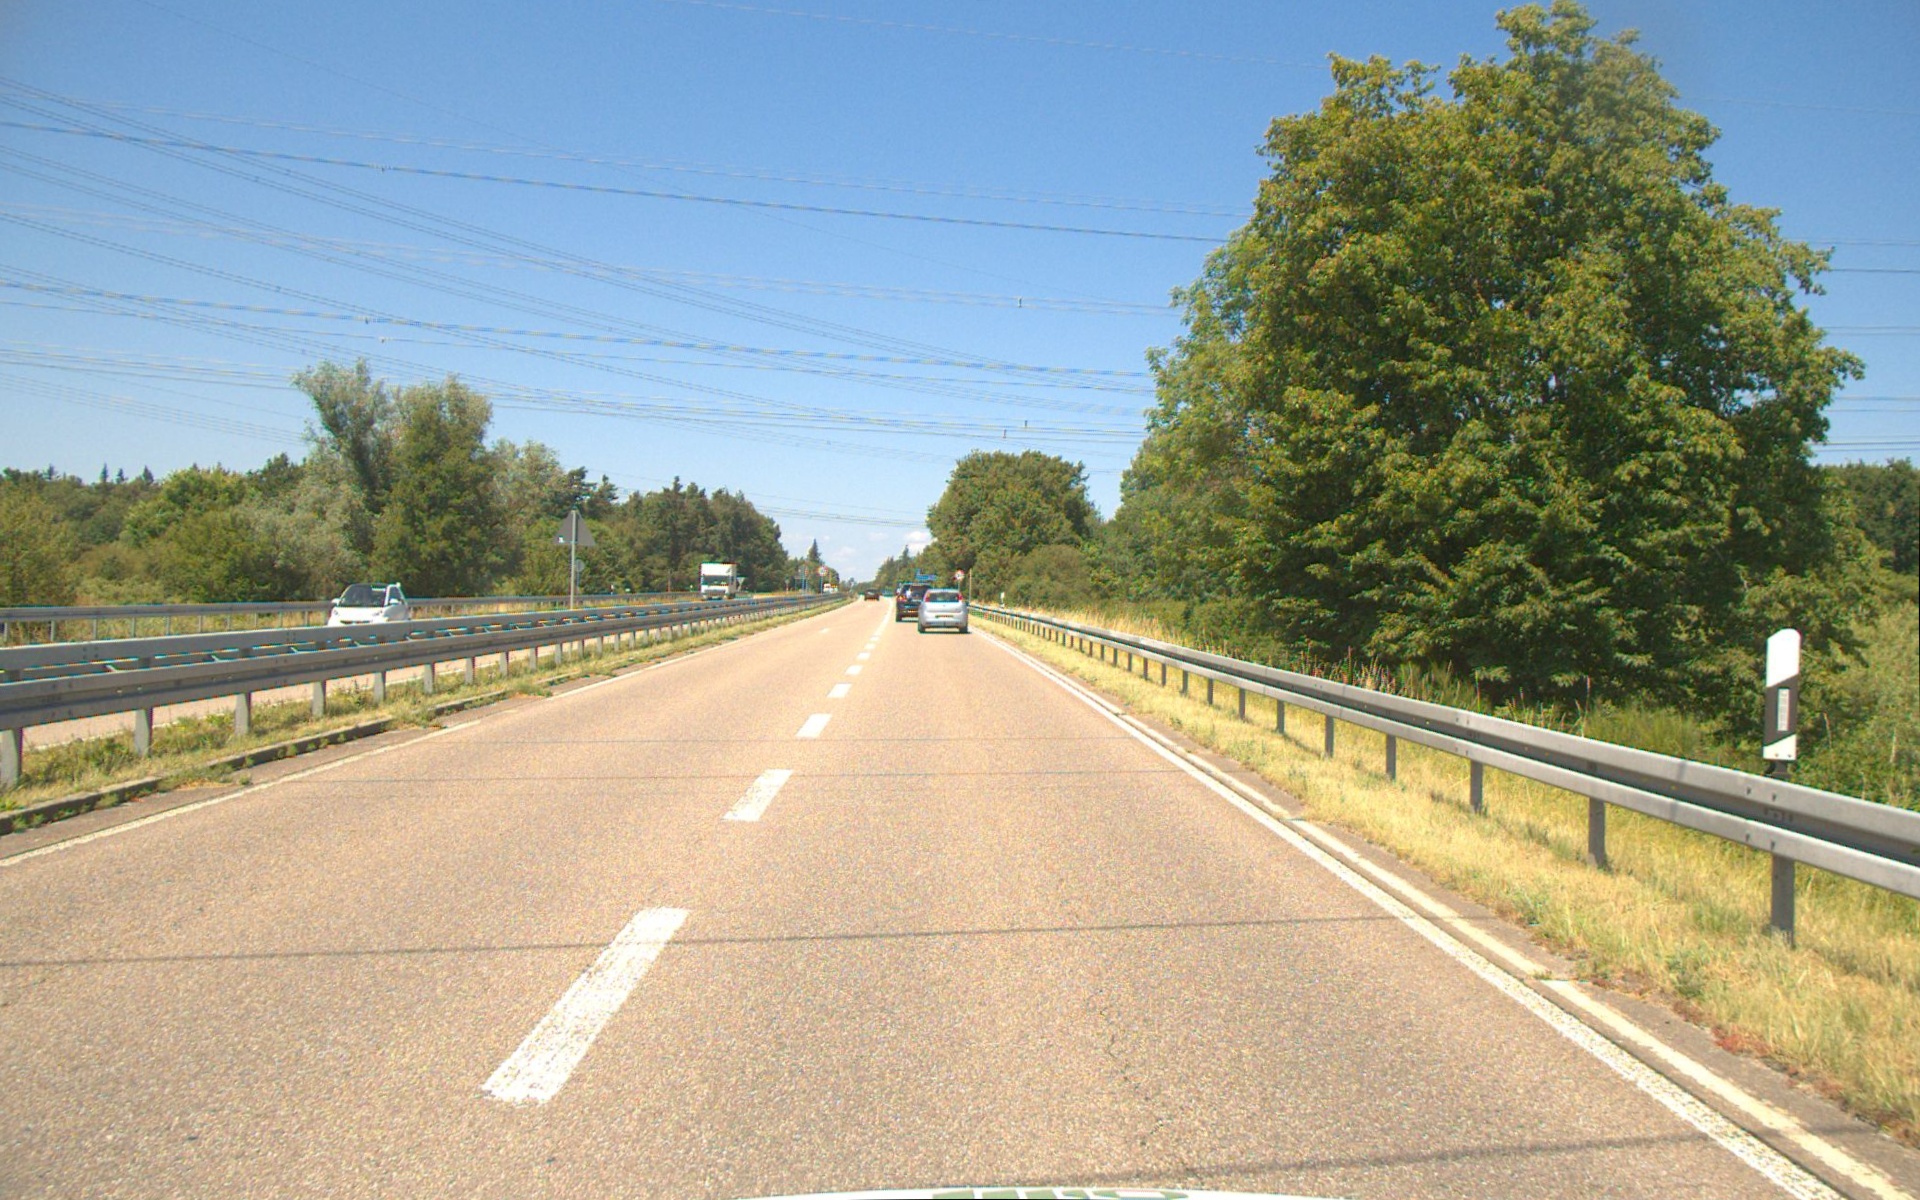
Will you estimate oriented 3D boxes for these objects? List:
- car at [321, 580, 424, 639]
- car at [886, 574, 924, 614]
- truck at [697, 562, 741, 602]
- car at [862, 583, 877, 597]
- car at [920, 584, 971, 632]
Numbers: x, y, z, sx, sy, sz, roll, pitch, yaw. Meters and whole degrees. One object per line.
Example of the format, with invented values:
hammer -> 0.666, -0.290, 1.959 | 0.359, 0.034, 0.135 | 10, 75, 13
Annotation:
car -> -15.628, 0.229, 44.183 | 1.502, 1.475, 3.700 | 1, 0, -1
car -> -2.554, -0.274, 76.163 | 1.608, 1.682, 3.572 | 3, 0, -3
truck -> -20.020, -1.493, 137.759 | 2.663, 3.249, 8.402 | 0, 0, -2
car -> -10.774, -1.202, 196.245 | 1.678, 1.497, 3.572 | 3, 0, -3
car -> -0.512, 0.259, 56.669 | 1.607, 1.493, 3.418 | 3, 0, -2
